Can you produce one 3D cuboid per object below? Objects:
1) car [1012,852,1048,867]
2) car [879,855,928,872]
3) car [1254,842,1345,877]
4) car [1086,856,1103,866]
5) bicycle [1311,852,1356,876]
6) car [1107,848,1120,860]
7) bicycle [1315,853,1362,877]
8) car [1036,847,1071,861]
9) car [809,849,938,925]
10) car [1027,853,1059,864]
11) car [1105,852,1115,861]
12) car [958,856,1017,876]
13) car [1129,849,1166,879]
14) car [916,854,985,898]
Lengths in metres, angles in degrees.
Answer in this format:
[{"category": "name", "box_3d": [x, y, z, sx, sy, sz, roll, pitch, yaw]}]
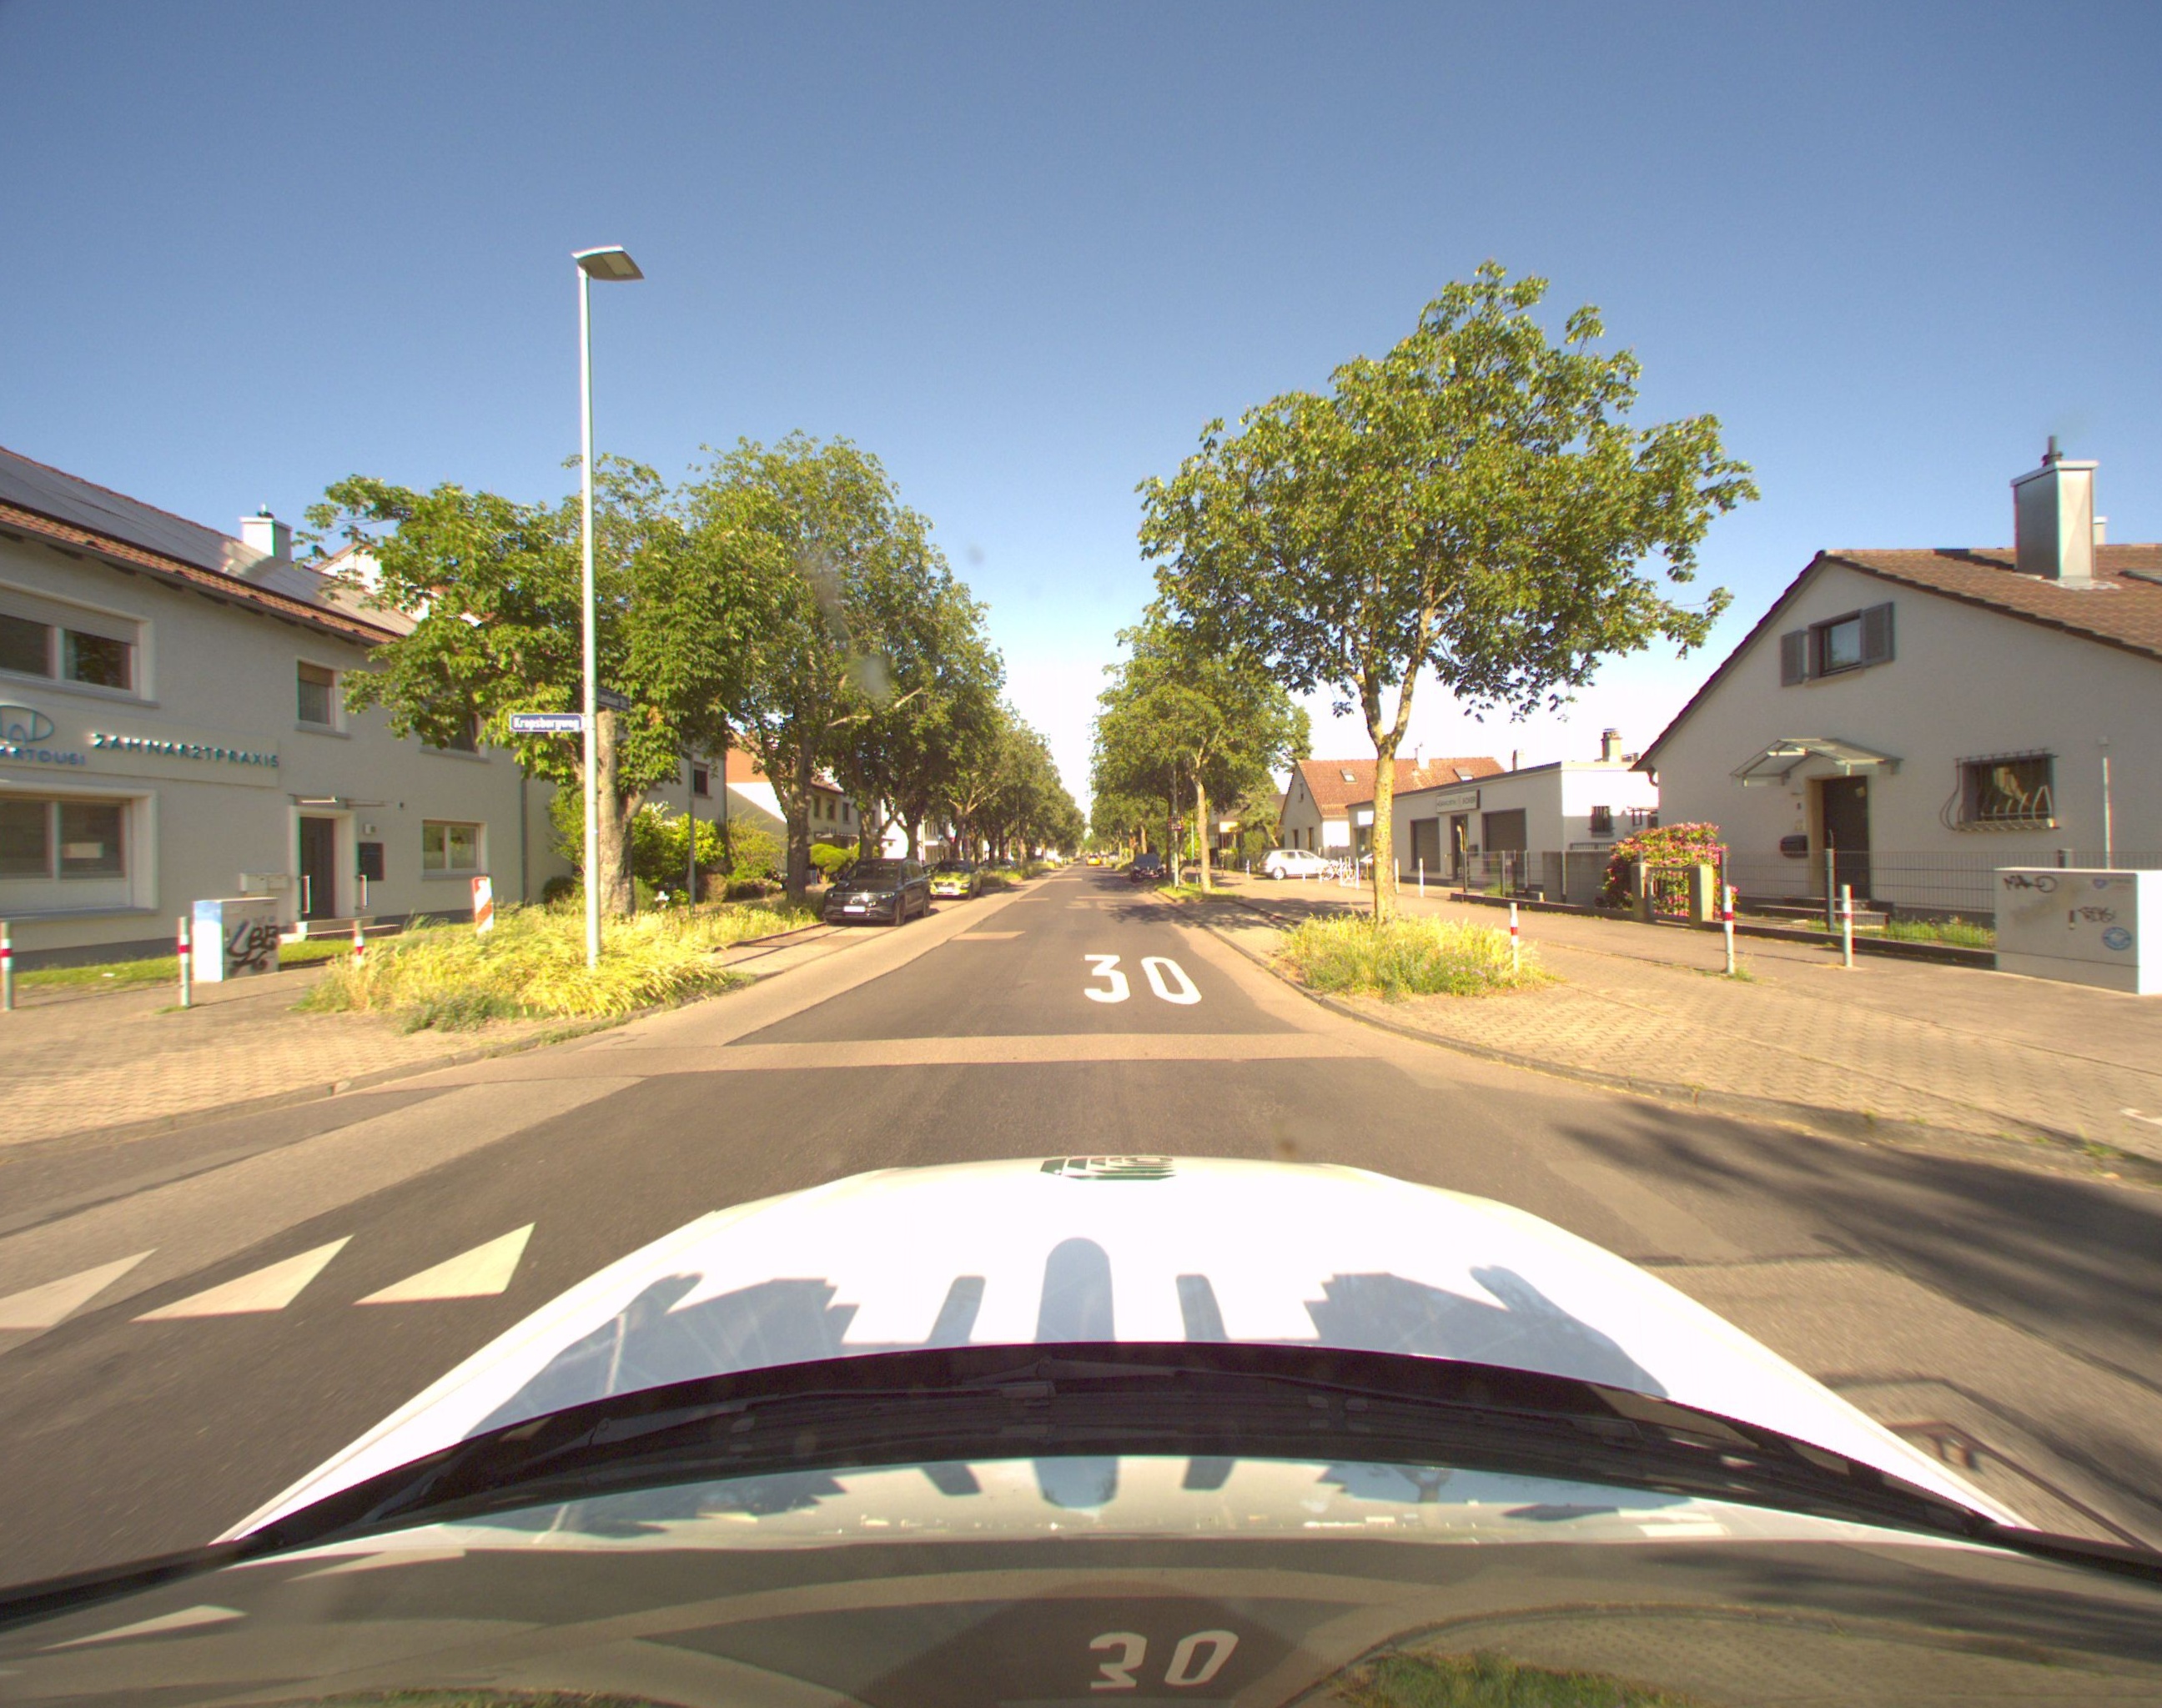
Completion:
[{"category": "car", "box_3d": [-6.396, 0.683, 102.836, 4.537, 1.765, 1.997, 0, 1, -4]}, {"category": "car", "box_3d": [-17.878, 0.969, 82.094, 4.544, 1.617, 1.998, 0, 1, -4]}, {"category": "car", "box_3d": [10.806, 0.254, 40.524, 3.975, 1.488, 1.902, -3, 2, -1]}, {"category": "car", "box_3d": [1.915, 1.009, 117.361, 1.885, 1.479, 3.880, 1, 0, -6]}, {"category": "bicycle", "box_3d": [11.914, 0.482, 38.409, 1.918, 0.998, 0.576, -3, 1, -1]}, {"category": "car", "box_3d": [4.841, 0.007, 121.788, 1.896, 1.774, 4.302, 0, 0, 1]}, {"category": "bicycle", "box_3d": [11.835, 0.512, 37.420, 1.952, 0.998, 0.576, -3, 1, -1]}, {"category": "car", "box_3d": [-4.395, -0.037, 130.821, 5.482, 2.247, 2.516, 0, 1, -1]}, {"category": "car", "box_3d": [-5.179, 0.792, 21.104, 1.946, 1.727, 4.876, 0, -1, 2]}, {"category": "car", "box_3d": [-5.182, 0.596, 109.535, 4.279, 1.315, 1.906, 0, 2, -4]}, {"category": "car", "box_3d": [5.735, 0.438, 159.909, 1.896, 1.774, 4.302, 0, 0, 1]}, {"category": "car", "box_3d": [-7.479, 0.941, 65.386, 4.539, 1.511, 1.841, 0, 1, 0]}, {"category": "car", "box_3d": [3.945, 0.614, 48.737, 1.847, 1.625, 4.469, -3, -1, 0]}, {"category": "car", "box_3d": [-5.134, 0.852, 32.656, 1.932, 1.609, 4.385, 0, -1, 2]}]
